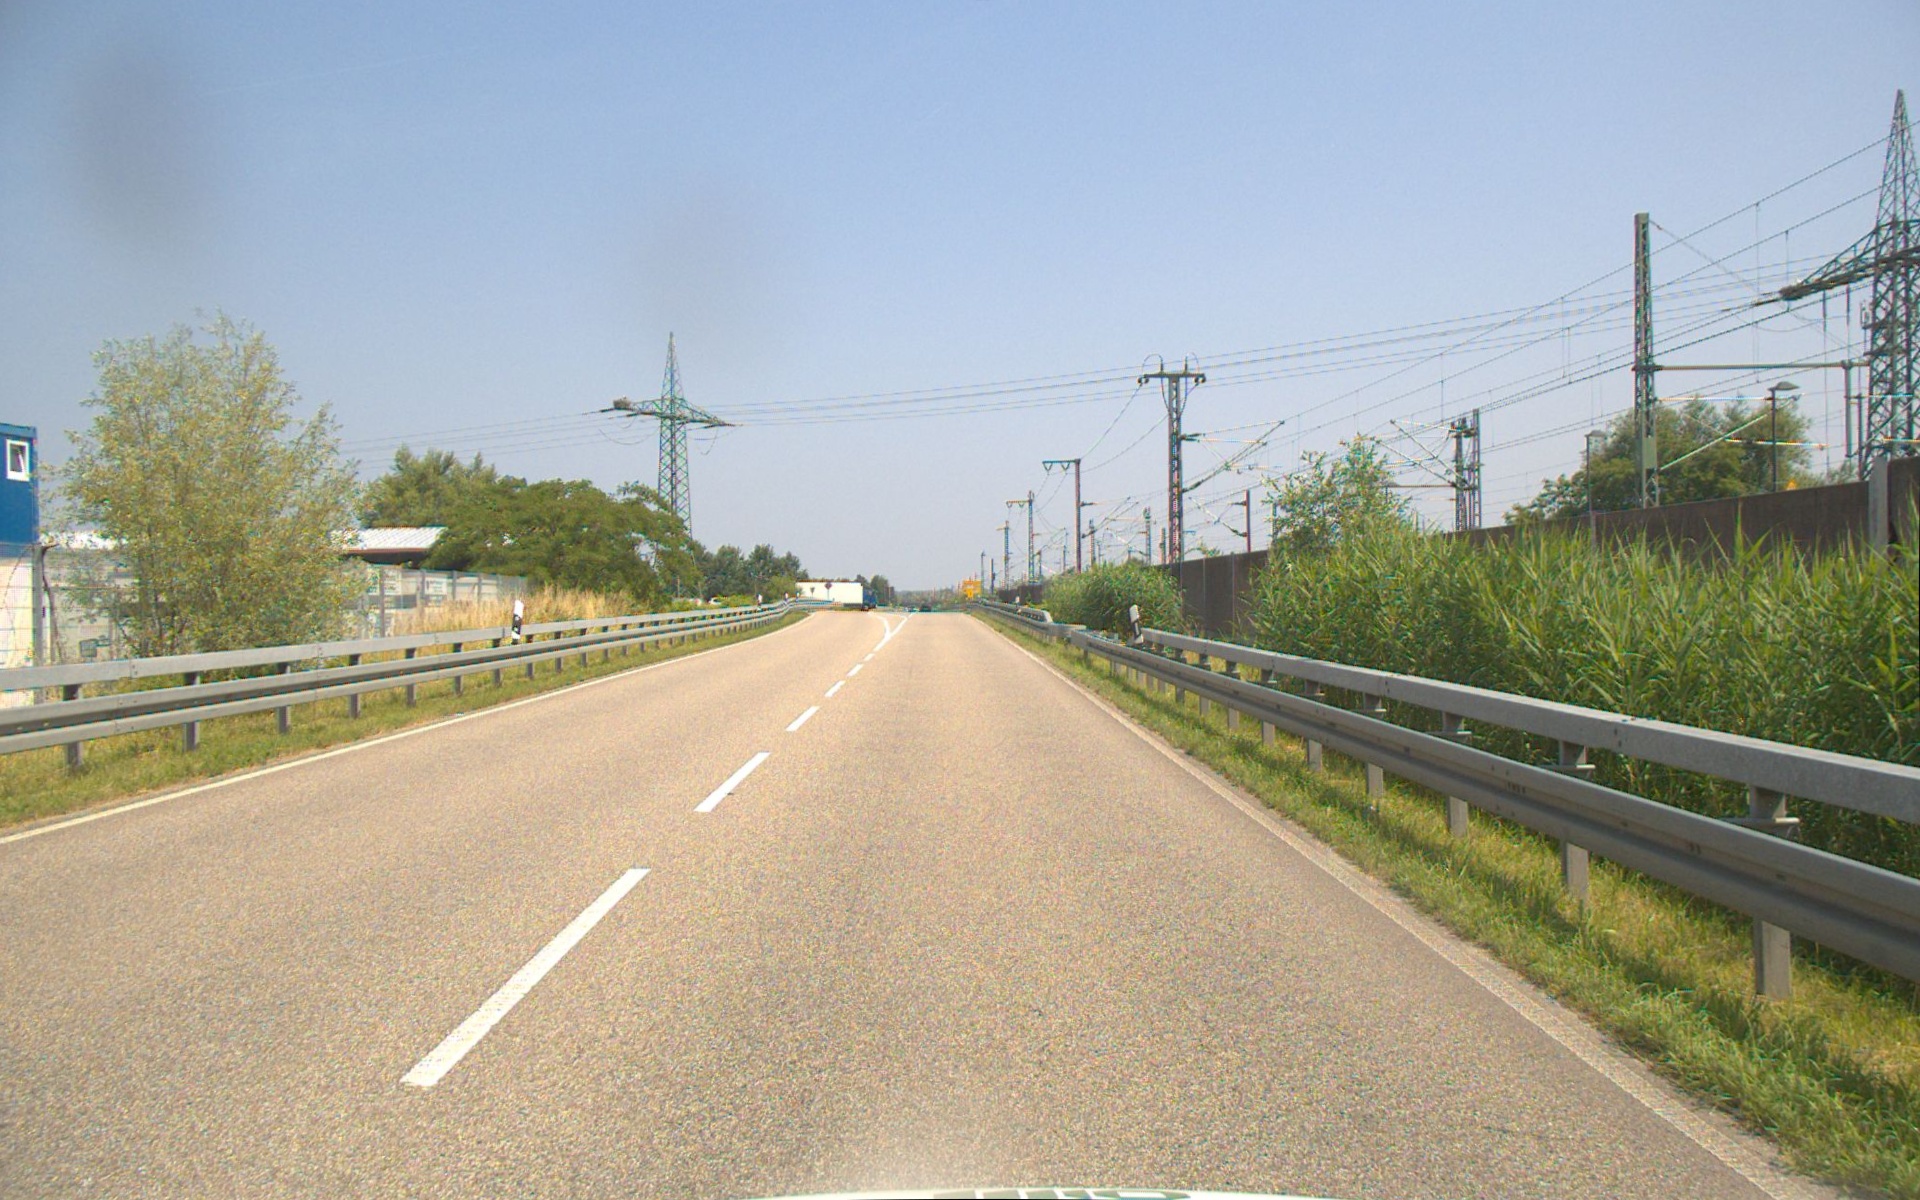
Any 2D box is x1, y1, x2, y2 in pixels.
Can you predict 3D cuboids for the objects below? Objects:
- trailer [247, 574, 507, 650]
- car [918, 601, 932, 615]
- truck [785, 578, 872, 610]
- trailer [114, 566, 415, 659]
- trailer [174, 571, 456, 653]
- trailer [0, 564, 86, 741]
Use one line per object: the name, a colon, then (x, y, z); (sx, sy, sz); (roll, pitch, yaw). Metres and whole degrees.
trailer: (-14.104, 0.273, 40.291); (5.411, 1.751, 2.485); (0, 0, 2)
car: (-5.430, 1.230, 254.561); (1.954, 2.049, 3.996); (0, 0, -5)
truck: (-15.820, -0.741, 199.244); (10.218, 3.695, 2.840); (1, 0, -9)
trailer: (-14.549, 0.246, 34.900); (5.278, 1.881, 2.543); (0, 0, -2)
trailer: (-14.569, 0.252, 37.638); (5.412, 1.774, 2.484); (0, 0, 0)
trailer: (-14.464, 0.716, 23.853); (1.955, 2.480, 3.917); (1, 0, -6)
